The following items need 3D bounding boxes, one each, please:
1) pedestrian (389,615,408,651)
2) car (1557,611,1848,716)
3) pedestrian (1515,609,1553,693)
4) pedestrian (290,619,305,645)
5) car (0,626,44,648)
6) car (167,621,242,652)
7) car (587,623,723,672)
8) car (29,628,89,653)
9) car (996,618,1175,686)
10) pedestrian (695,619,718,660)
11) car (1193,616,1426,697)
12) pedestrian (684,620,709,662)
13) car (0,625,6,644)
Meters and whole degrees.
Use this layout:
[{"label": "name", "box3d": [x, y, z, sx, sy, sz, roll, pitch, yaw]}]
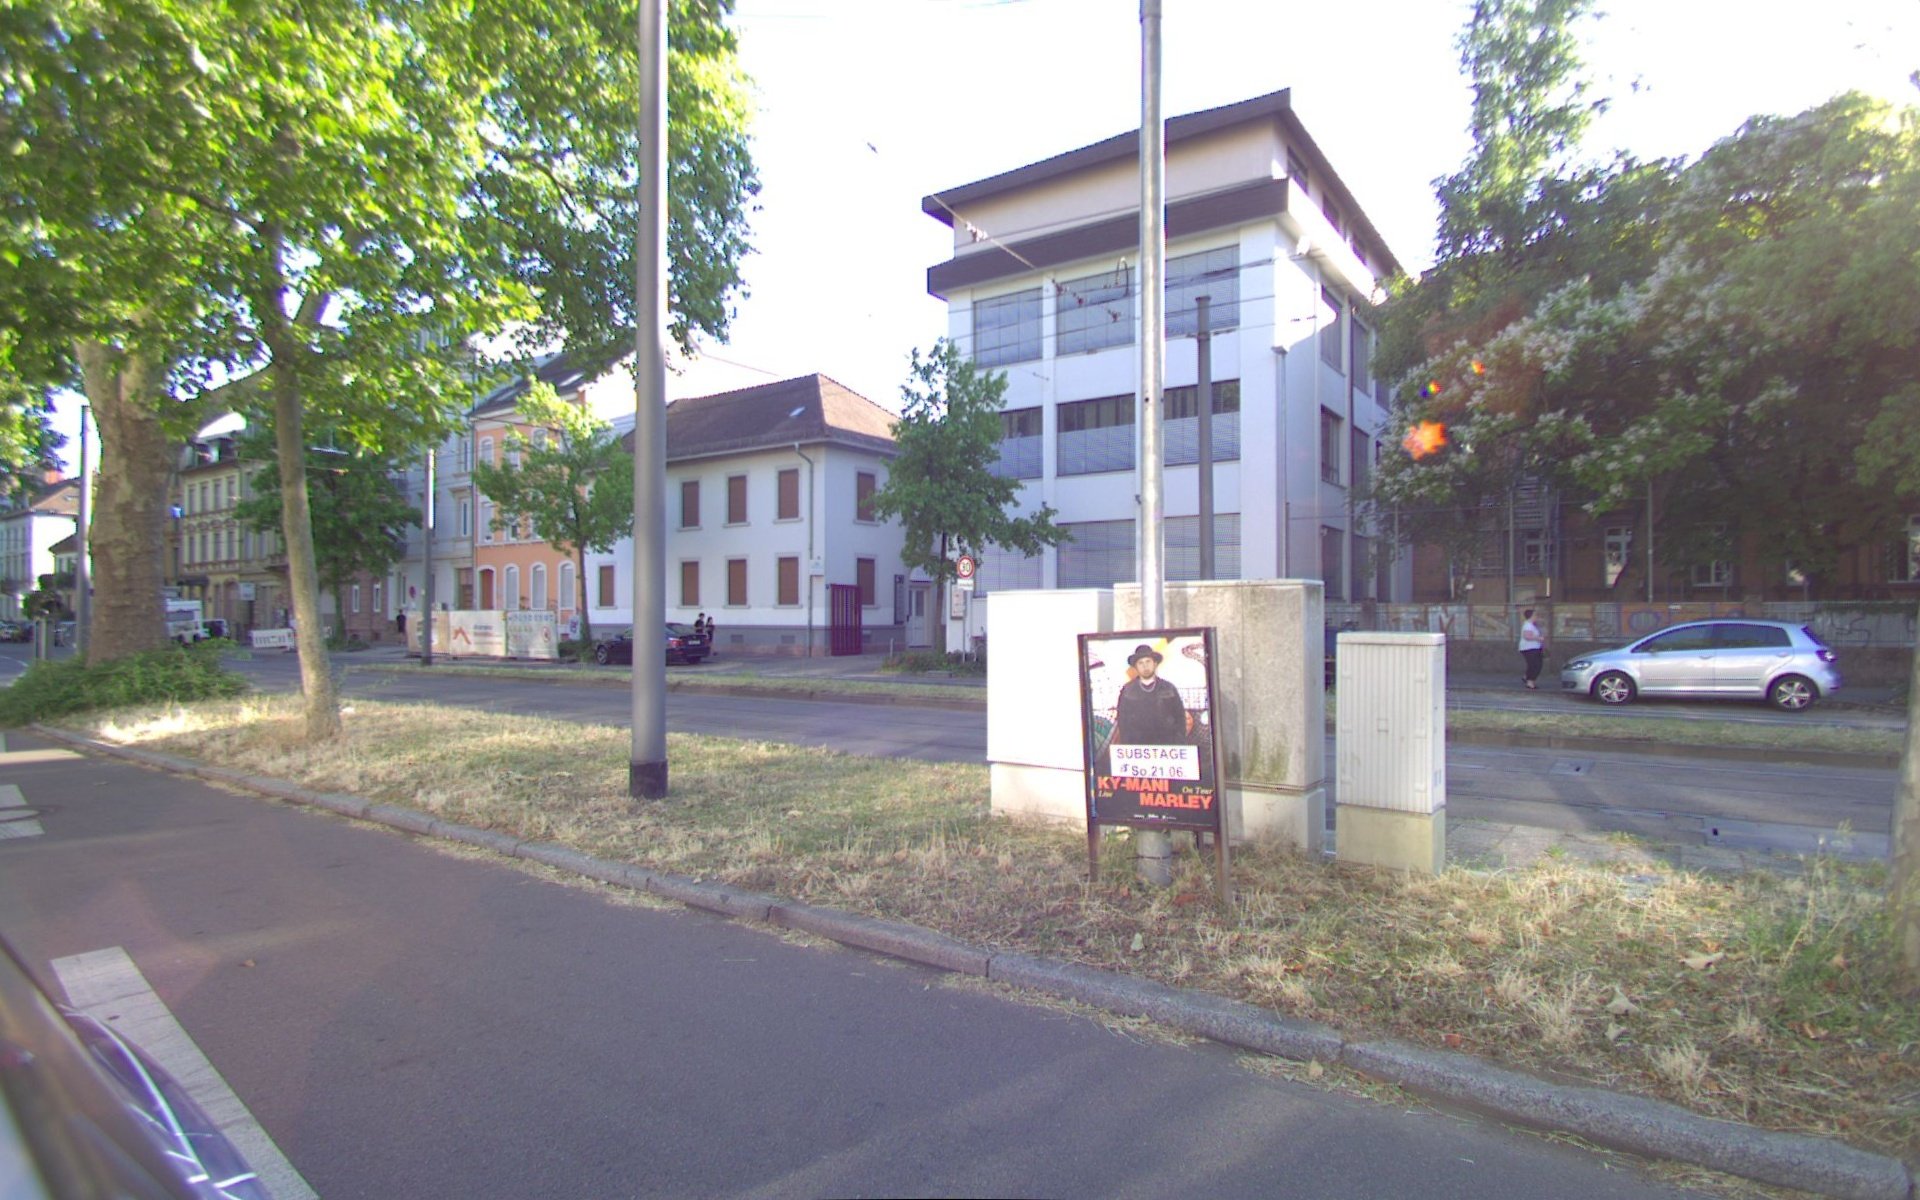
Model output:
[{"label": "pedestrian", "box3d": [-29.245, 1.712, 52.697, 0.702, 1.823, 0.556, -1, -2, 31]}, {"label": "car", "box3d": [13.348, 1.083, 18.535, 4.086, 1.631, 2.065, -1, 1, 33]}, {"label": "pedestrian", "box3d": [11.912, 1.048, 20.990, 0.630, 1.677, 0.563, -1, 1, 34]}, {"label": "pedestrian", "box3d": [-39.023, 1.894, 59.607, 0.632, 1.540, 0.616, 1, -2, -45]}, {"label": "car", "box3d": [-73.878, 2.850, 79.199, 5.090, 1.551, 2.065, -1, 1, 33]}, {"label": "car", "box3d": [-44.082, 2.106, 59.034, 4.520, 1.686, 2.065, -1, 1, 33]}, {"label": "car", "box3d": [-10.581, 1.605, 35.034, 4.566, 1.481, 2.065, -1, 1, 33]}, {"label": "car", "box3d": [-63.466, 2.819, 71.274, 4.503, 1.551, 2.065, -1, 1, 33]}, {"label": "car", "box3d": [3.154, 1.261, 25.552, 3.985, 1.501, 2.065, -1, 1, 33]}, {"label": "pedestrian", "box3d": [-9.652, 1.483, 38.561, 0.710, 1.540, 0.531, -1, -2, 35]}, {"label": "car", "box3d": [7.609, 1.157, 22.122, 4.444, 1.513, 2.065, -1, 1, 33]}, {"label": "pedestrian", "box3d": [-9.774, 1.528, 37.550, 0.708, 1.540, 0.532, -1, -2, 29]}, {"label": "car", "box3d": [-81.344, 2.895, 84.108, 4.027, 1.551, 2.065, -1, 1, 33]}]
